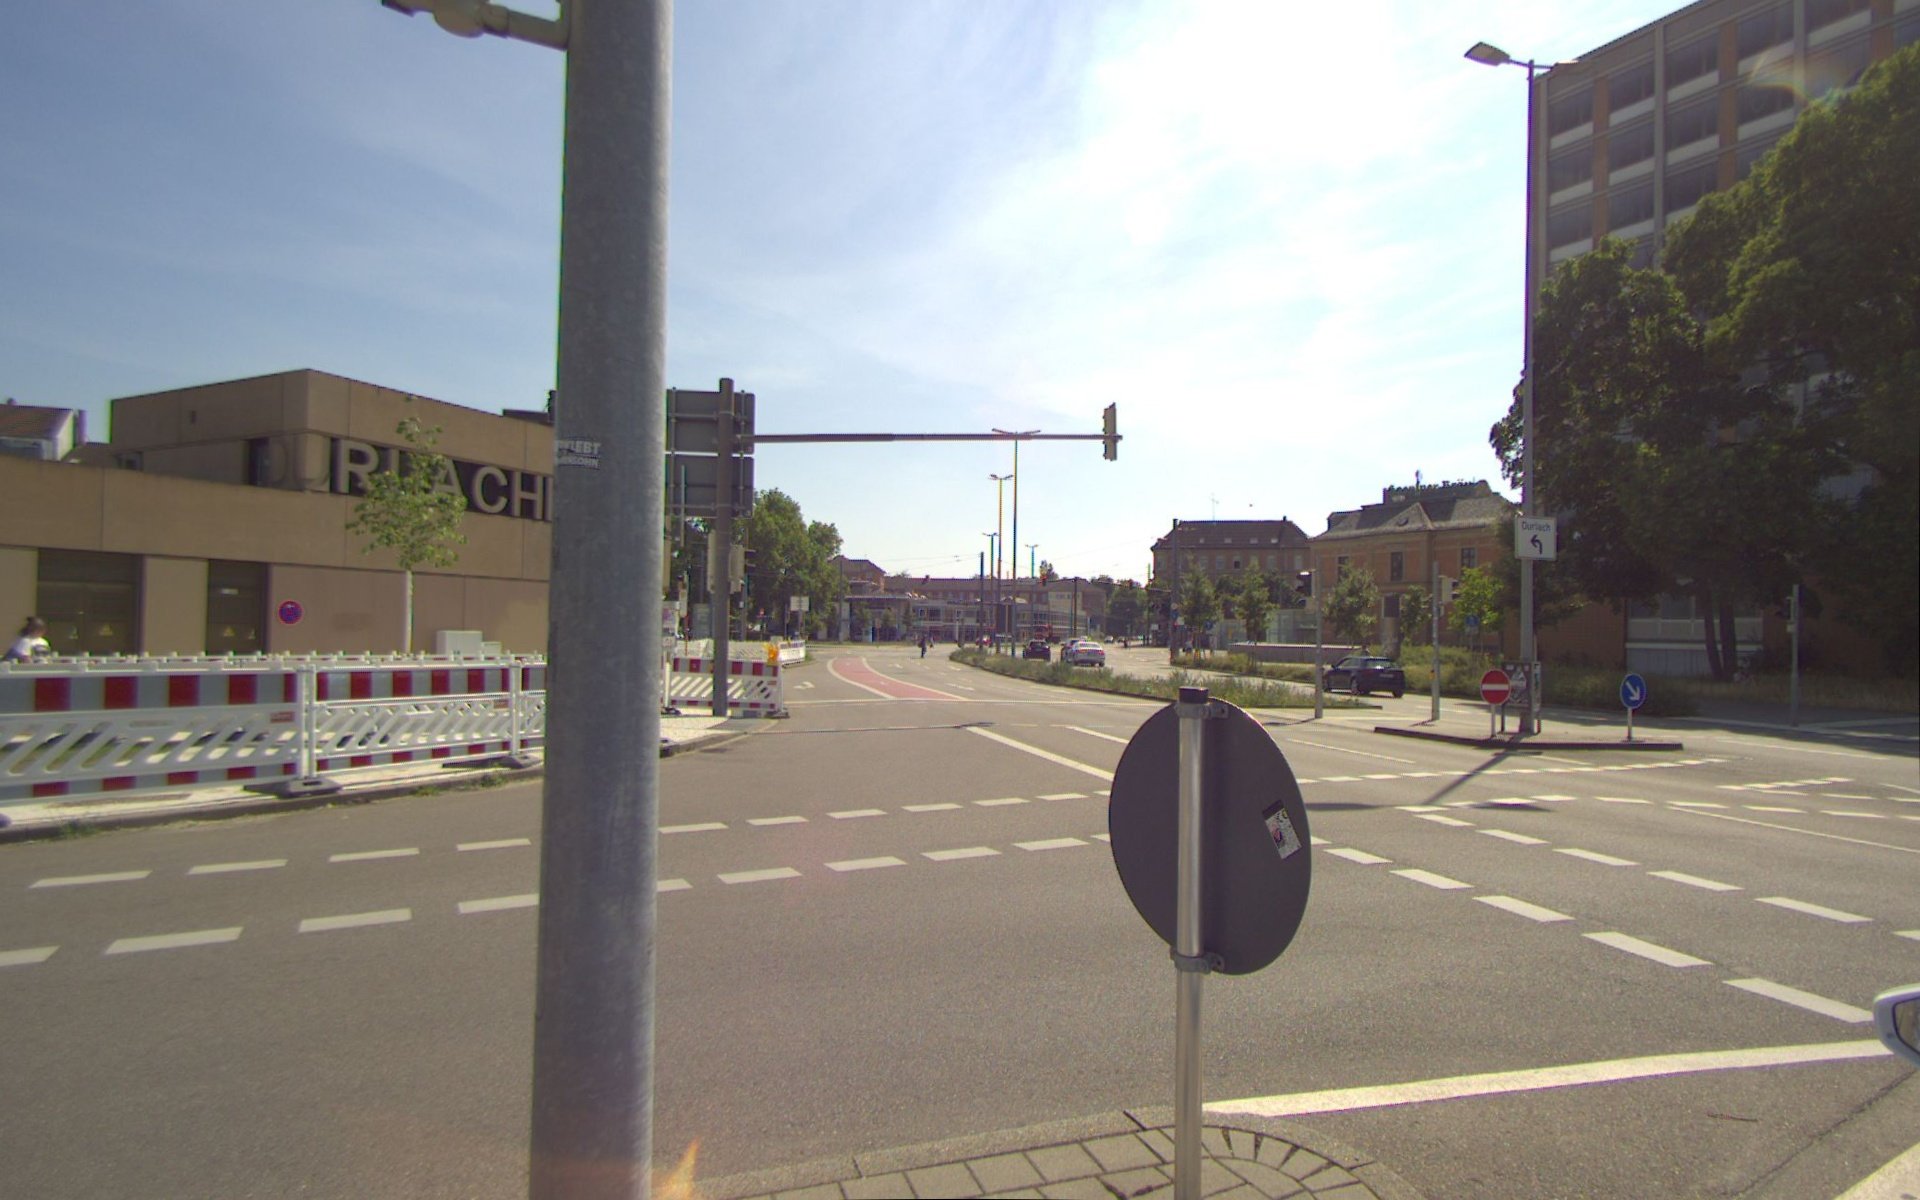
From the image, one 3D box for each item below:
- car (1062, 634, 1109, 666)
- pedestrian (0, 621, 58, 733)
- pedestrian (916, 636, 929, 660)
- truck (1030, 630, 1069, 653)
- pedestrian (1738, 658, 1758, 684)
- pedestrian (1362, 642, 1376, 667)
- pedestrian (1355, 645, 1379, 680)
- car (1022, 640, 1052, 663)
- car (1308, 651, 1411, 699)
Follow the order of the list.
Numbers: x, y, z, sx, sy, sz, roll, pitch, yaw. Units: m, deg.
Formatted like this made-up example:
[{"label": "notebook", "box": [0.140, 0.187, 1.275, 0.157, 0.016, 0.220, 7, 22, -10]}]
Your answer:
[{"label": "car", "box": [7.654, 3.056, 61.543, 1.963, 1.839, 3.996, 1, -2, -7]}, {"label": "pedestrian", "box": [-13.546, 1.103, 14.576, 0.416, 1.585, 0.557, 1, -2, -13]}, {"label": "pedestrian", "box": [-2.684, 3.467, 72.649, 0.645, 1.683, 0.655, 3, -2, -42]}, {"label": "truck", "box": [15.419, 7.175, 172.285, 3.024, 3.779, 7.904, 0, -2, 36]}, {"label": "pedestrian", "box": [28.347, 2.558, 36.119, 0.387, 0.903, 0.427, 2, -2, -20]}, {"label": "pedestrian", "box": [28.525, 3.818, 70.097, 0.641, 1.683, 0.647, 2, -2, -22]}, {"label": "pedestrian", "box": [20.837, 3.213, 51.420, 0.857, 1.748, 0.799, 2, -2, -7]}, {"label": "car", "box": [5.243, 3.516, 68.990, 1.764, 1.530, 4.001, 1, -2, 1]}, {"label": "car", "box": [14.481, 2.690, 36.656, 1.767, 1.530, 3.996, 3, -2, -7]}]
